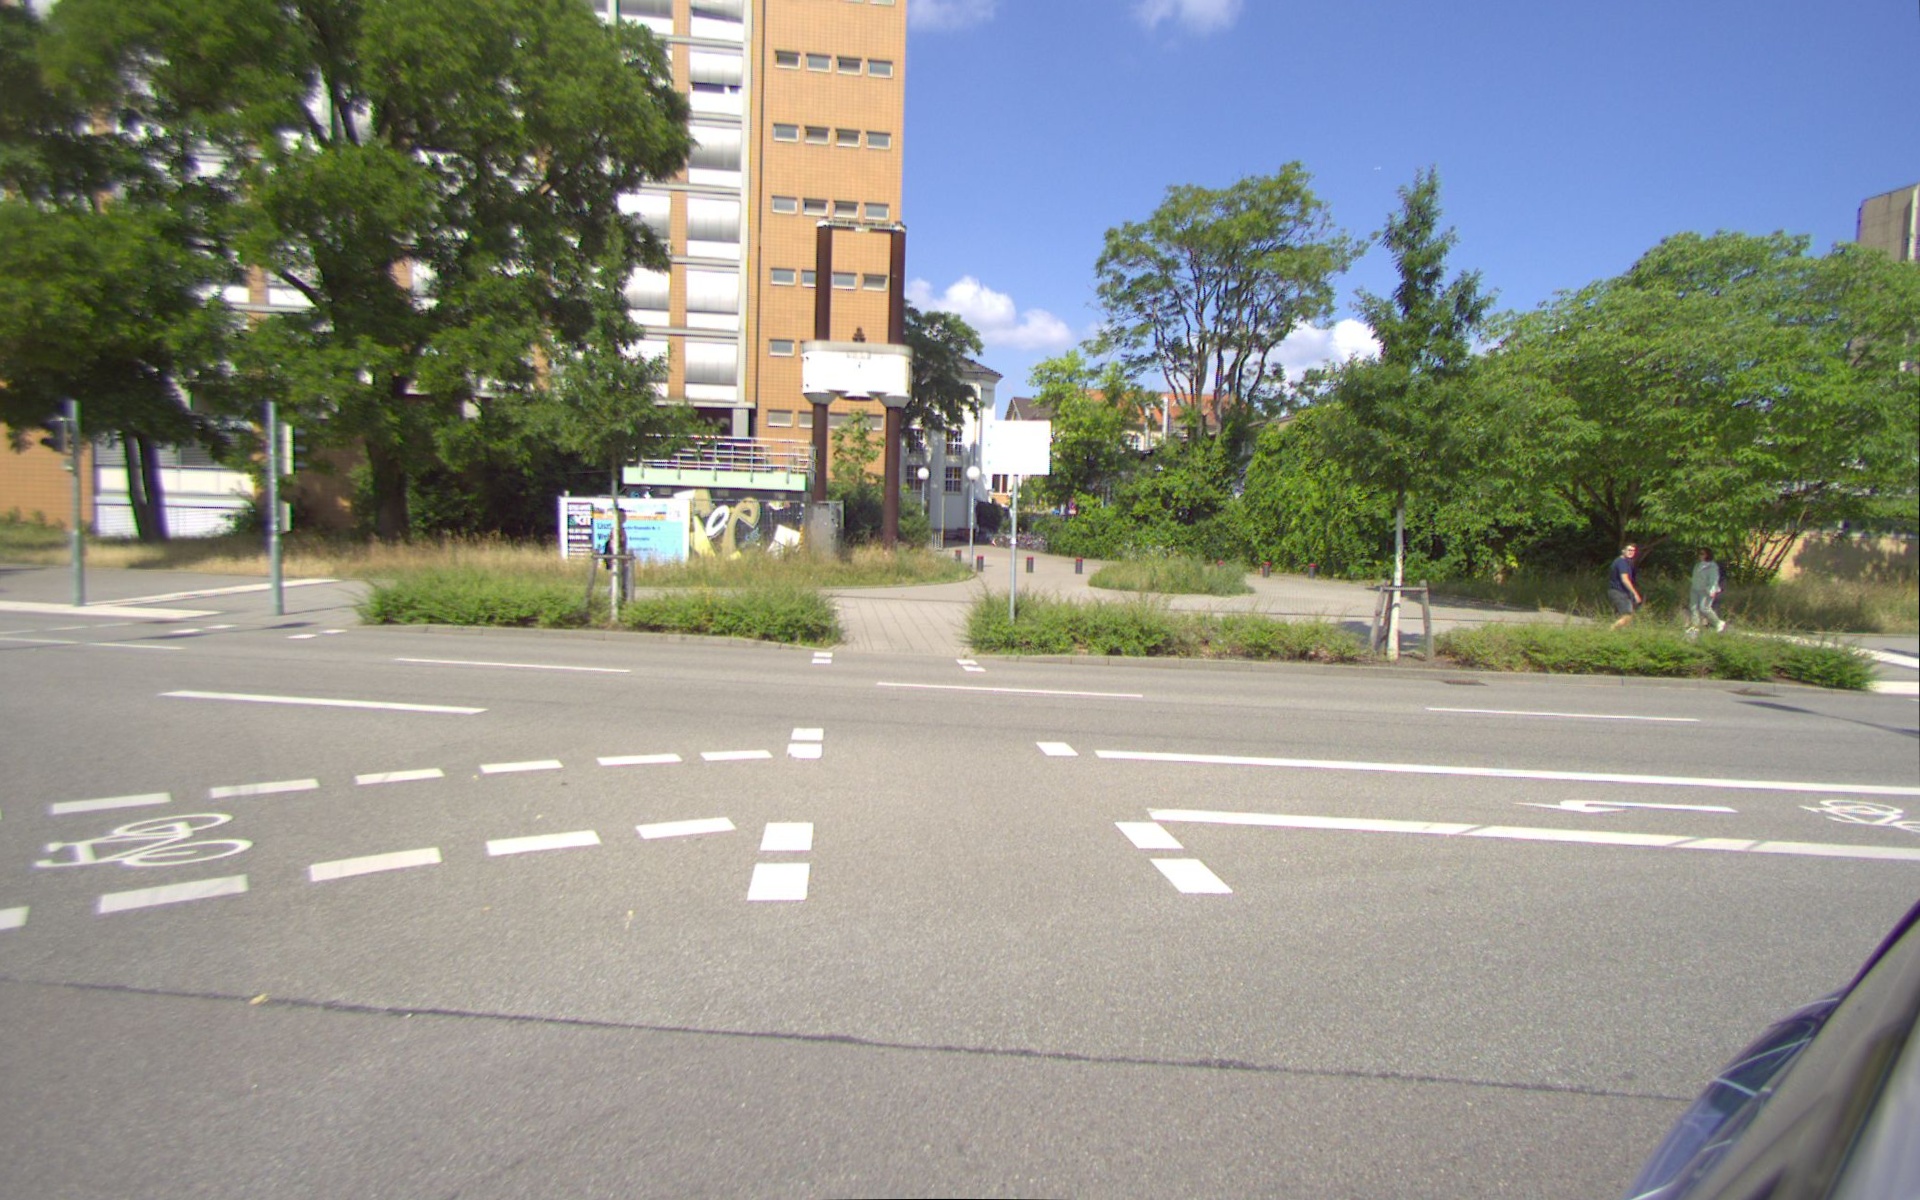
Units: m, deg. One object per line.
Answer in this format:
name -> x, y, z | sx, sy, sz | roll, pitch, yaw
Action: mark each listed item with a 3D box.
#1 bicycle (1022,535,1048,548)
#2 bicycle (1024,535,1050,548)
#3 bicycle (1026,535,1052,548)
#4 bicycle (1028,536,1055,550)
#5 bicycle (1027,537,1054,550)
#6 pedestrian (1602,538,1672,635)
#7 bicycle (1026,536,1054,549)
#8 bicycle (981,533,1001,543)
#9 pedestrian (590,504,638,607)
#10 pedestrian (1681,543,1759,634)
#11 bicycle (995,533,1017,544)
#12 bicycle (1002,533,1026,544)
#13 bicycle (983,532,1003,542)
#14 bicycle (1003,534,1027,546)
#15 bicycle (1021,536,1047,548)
bicycle -> 4.645, -3.630, 62.849 | 1.529, 0.728, 0.509 | 1, 4, 0
bicycle -> 4.680, -3.534, 61.433 | 1.529, 0.728, 0.509 | 1, 4, 0
bicycle -> 4.737, -3.513, 60.665 | 1.529, 0.728, 0.509 | 1, 4, 0
bicycle -> 4.712, -3.309, 58.604 | 1.529, 0.728, 0.509 | 1, 4, 0
bicycle -> 4.710, -3.328, 59.222 | 1.529, 0.728, 0.509 | 1, 4, 0
pedestrian -> 10.978, -0.232, 16.437 | 0.542, 1.526, 0.772 | 2, 3, 2
bicycle -> 4.576, -3.272, 57.751 | 1.529, 0.728, 0.509 | 1, 4, 0
bicycle -> 2.366, -4.749, 76.979 | 1.529, 0.728, 0.509 | 1, 4, 0
pedestrian -> -6.041, -0.791, 17.703 | 0.567, 1.754, 0.662 | 2, 3, 5
pedestrian -> 14.330, -0.235, 19.103 | 0.707, 1.658, 0.872 | 1, 3, -1
bicycle -> 3.246, -4.348, 71.740 | 1.529, 0.728, 0.509 | 1, 4, 0
bicycle -> 3.639, -4.125, 68.164 | 1.529, 0.728, 0.509 | 1, 4, 0
bicycle -> 2.518, -4.802, 77.711 | 1.529, 0.728, 0.509 | 1, 4, 0
bicycle -> 3.613, -3.956, 66.656 | 1.529, 0.728, 0.509 | 1, 4, 0
bicycle -> 4.539, -3.553, 62.066 | 1.529, 0.728, 0.509 | 1, 4, 0
